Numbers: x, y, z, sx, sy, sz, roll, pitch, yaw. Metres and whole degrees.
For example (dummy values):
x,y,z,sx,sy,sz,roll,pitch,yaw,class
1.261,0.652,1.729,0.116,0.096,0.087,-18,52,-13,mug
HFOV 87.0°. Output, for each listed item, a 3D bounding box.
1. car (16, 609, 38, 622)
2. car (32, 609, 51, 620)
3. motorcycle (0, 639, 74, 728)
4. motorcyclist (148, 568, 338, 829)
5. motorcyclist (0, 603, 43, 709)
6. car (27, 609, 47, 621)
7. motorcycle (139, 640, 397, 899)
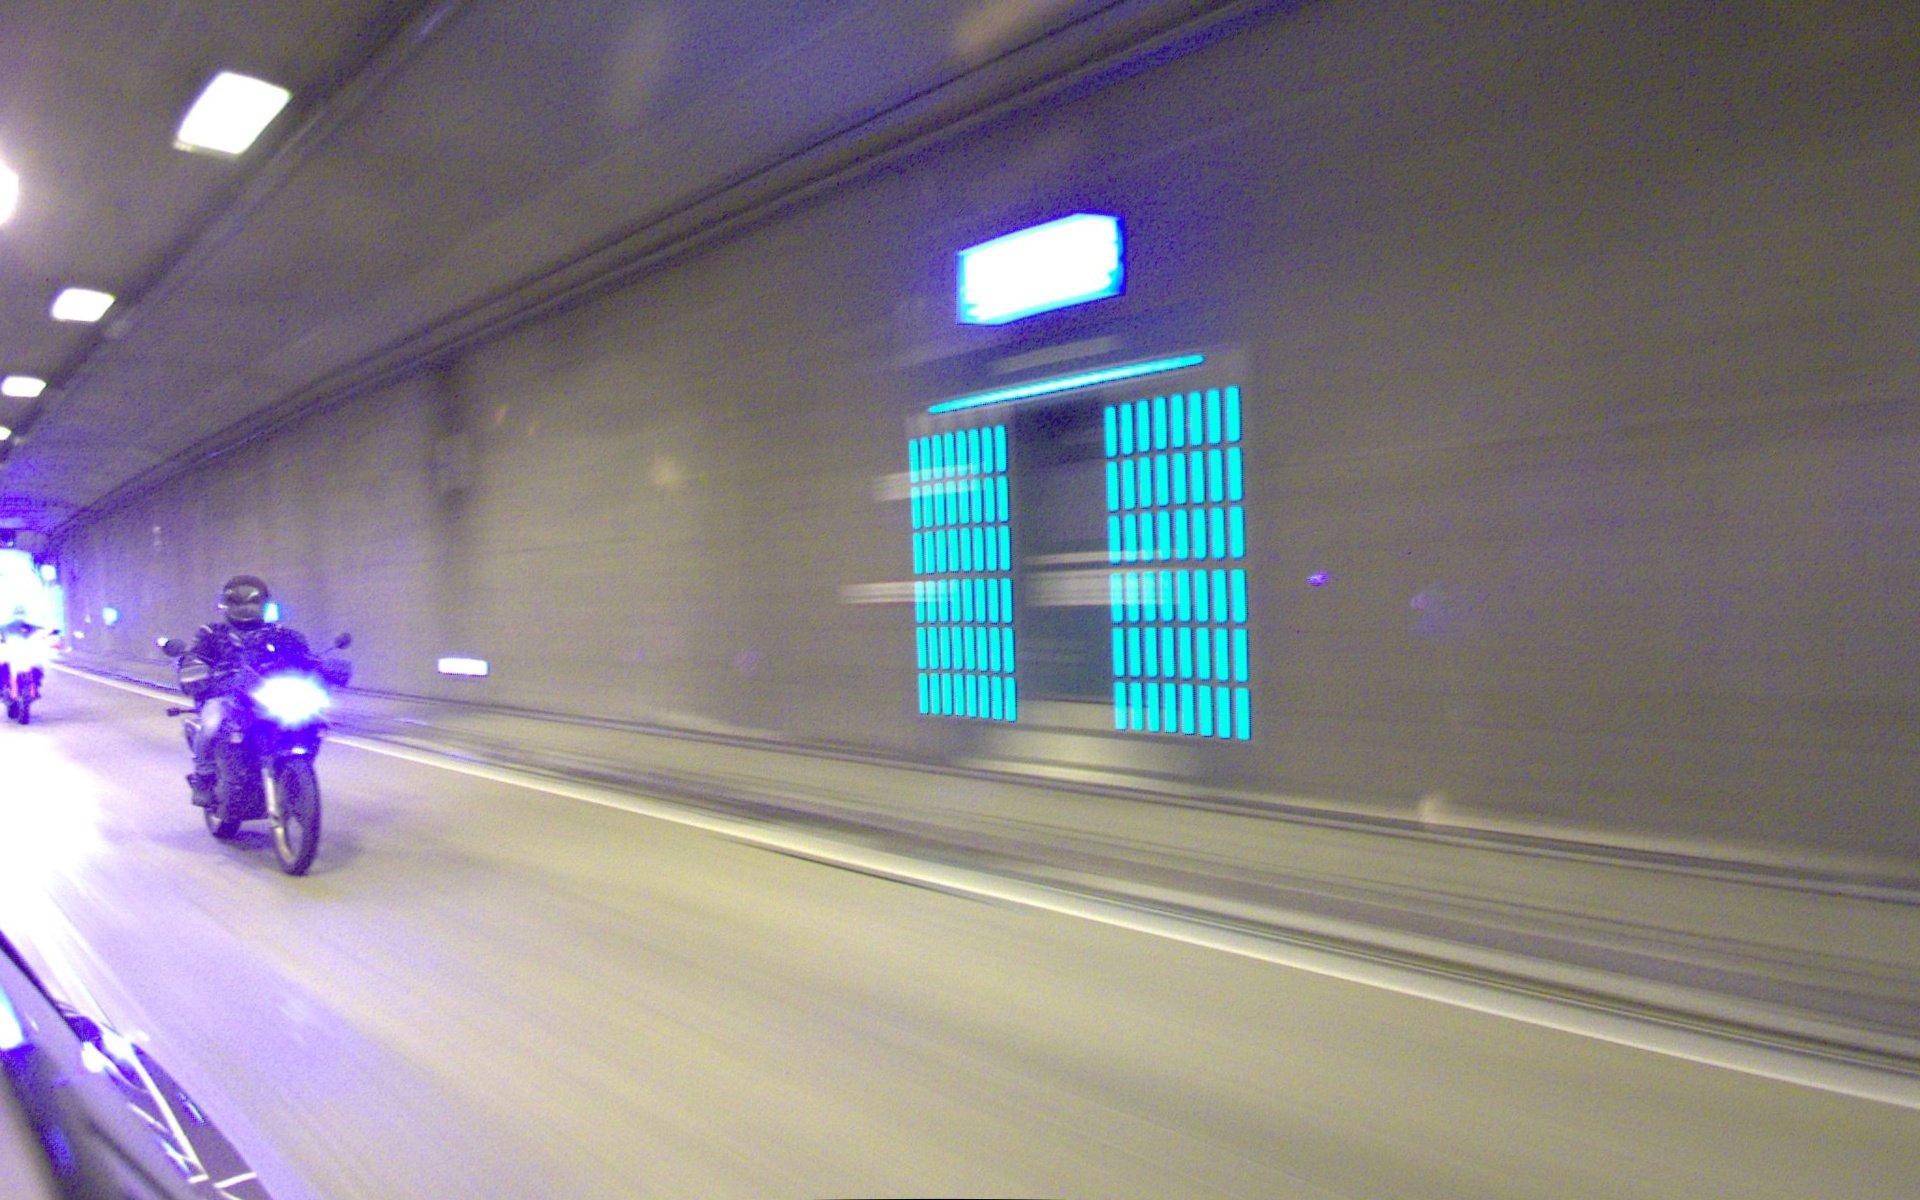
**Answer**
x,y,z,sx,sy,sz,roll,pitch,yaw,class
-138.005,2.321,149.662,1.968,1.812,4.009,-1,1,-37,car
-161.795,2.552,178.311,1.967,1.812,4.009,-1,1,-36,car
-13.759,1.167,14.672,2.426,1.166,1.042,-1,-1,41,motorcycle
-4.509,0.570,6.368,0.821,1.488,0.830,-2,-1,43,motorcyclist
-13.880,0.800,14.783,0.890,1.500,0.620,-1,-1,41,motorcyclist
-148.162,2.413,162.501,1.967,1.812,4.009,-1,1,-36,car
-4.424,0.910,6.353,2.605,1.255,0.836,-1,-1,44,motorcycle
